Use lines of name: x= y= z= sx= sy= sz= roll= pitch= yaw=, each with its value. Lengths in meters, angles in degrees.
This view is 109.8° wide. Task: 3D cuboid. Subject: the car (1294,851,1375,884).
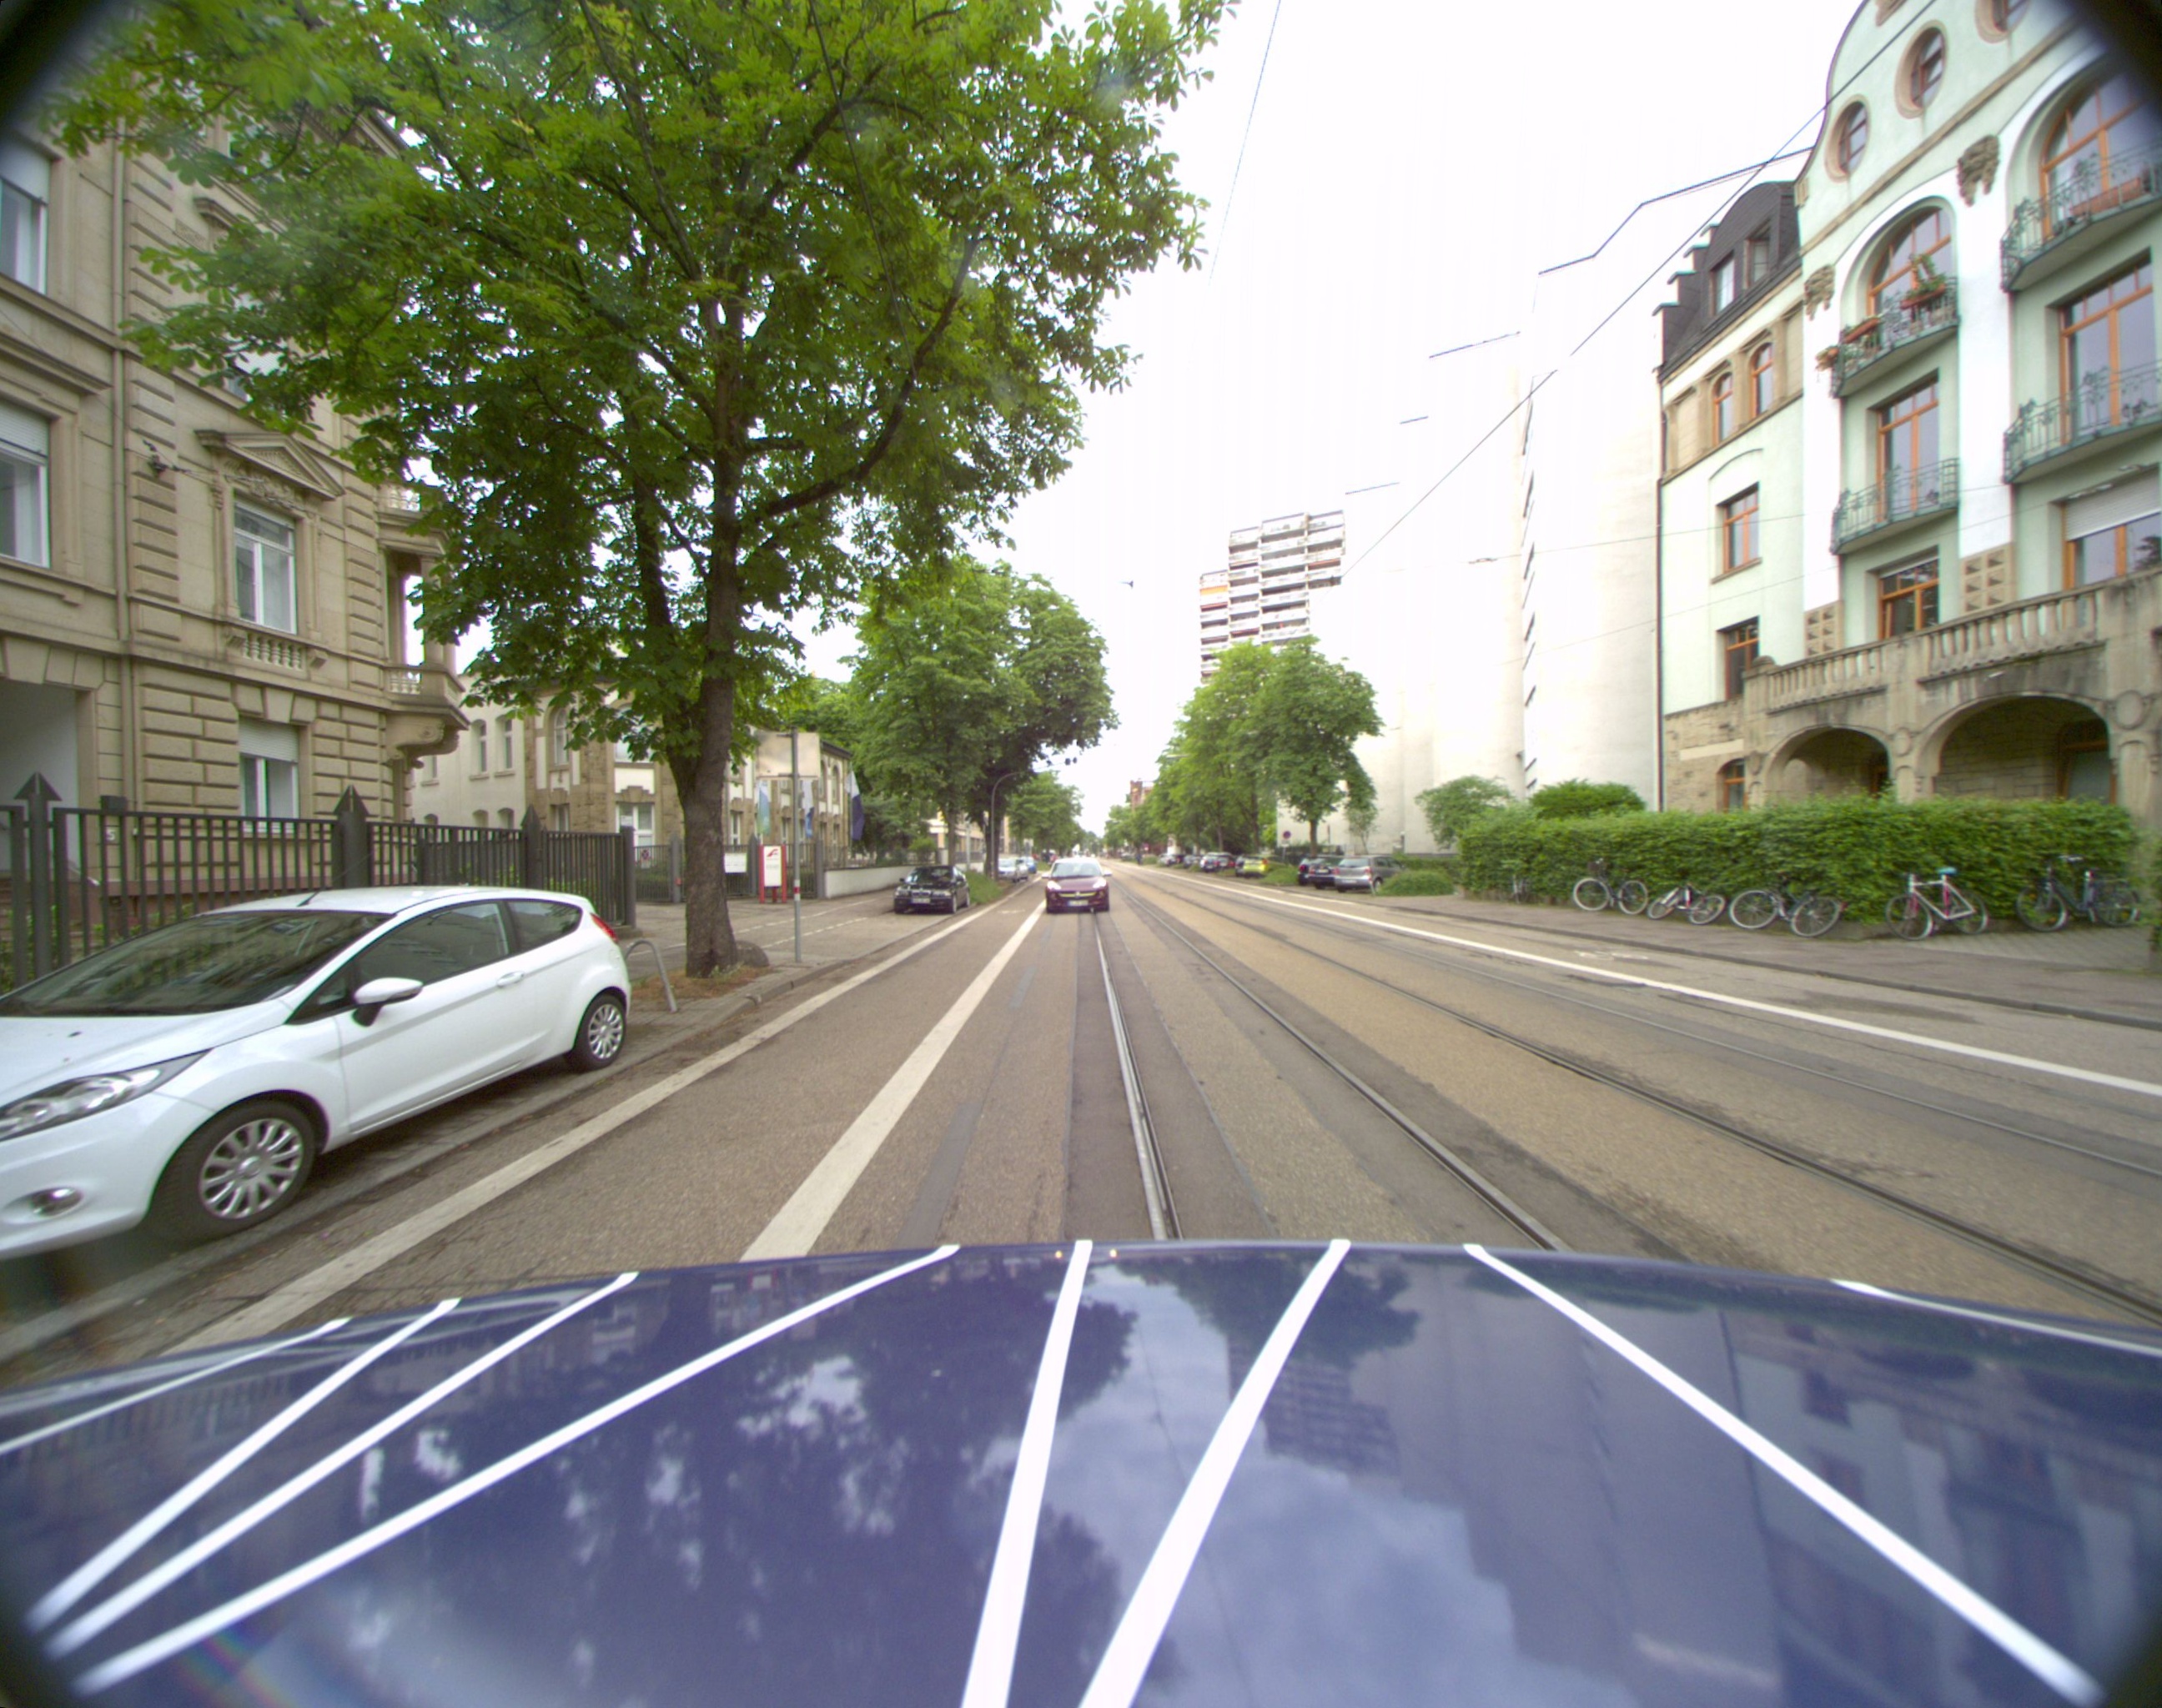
car: x=11.820 y=0.611 z=35.338 sx=4.007 sy=1.395 sz=1.691 roll=-2 pitch=1 yaw=-39

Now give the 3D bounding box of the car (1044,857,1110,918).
car: x=-0.053 y=0.863 z=21.258 sx=1.606 sy=1.427 sz=3.776 roll=-3 pitch=0 yaw=1

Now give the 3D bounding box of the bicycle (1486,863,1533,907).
bicycle: x=11.143 y=0.793 z=19.806 sx=0.360 sy=1.077 sz=1.546 roll=-1 pitch=1 yaw=0

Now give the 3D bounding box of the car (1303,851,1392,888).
car: x=11.316 y=0.630 z=32.174 sx=4.007 sy=1.395 sz=1.691 roll=-2 pitch=1 yaw=-39

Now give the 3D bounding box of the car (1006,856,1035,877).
car: x=-4.167 y=0.838 z=52.698 sx=1.606 sy=1.416 sz=3.836 roll=1 pitch=0 yaw=1

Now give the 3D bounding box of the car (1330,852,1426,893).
car: x=11.492 y=0.672 z=29.341 sx=4.007 sy=1.395 sz=1.691 roll=-2 pitch=1 yaw=-39

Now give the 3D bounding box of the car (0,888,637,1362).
car: x=-4.518 y=1.017 z=4.426 sx=1.631 sy=1.427 sz=3.764 roll=1 pitch=0 yaw=1

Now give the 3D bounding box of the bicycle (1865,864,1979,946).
bicycle: x=12.034 y=0.727 z=10.882 sx=1.205 sy=1.077 sz=0.300 roll=-4 pitch=1 yaw=2

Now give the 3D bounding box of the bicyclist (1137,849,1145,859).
bicyclist: x=7.792 y=0.006 z=98.663 sx=0.750 sy=1.247 sz=0.877 roll=-1 pitch=1 yaw=39

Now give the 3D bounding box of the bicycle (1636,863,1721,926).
bicycle: x=11.111 y=0.717 z=14.183 sx=0.360 sy=1.077 sz=1.546 roll=-1 pitch=1 yaw=0

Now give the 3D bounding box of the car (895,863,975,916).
car: x=-4.302 y=1.007 z=22.904 sx=1.606 sy=1.362 sz=3.836 roll=1 pitch=0 yaw=1

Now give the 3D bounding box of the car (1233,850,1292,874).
car: x=11.637 y=0.500 z=48.561 sx=4.008 sy=1.434 sz=1.690 roll=-2 pitch=1 yaw=-43

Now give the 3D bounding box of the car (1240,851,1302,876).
car: x=11.399 y=0.554 z=45.513 sx=4.008 sy=1.387 sz=1.690 roll=-2 pitch=1 yaw=-43

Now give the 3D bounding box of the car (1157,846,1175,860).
car: x=10.268 y=-0.147 z=91.826 sx=1.694 sy=1.611 sz=3.999 roll=-1 pitch=0 yaw=-1

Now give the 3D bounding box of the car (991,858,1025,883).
car: x=-4.327 y=0.951 z=45.358 sx=1.606 sy=1.362 sz=3.836 roll=1 pitch=0 yaw=1

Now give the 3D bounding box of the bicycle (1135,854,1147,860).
bicycle: x=7.794 y=0.361 z=98.665 sx=0.566 sy=0.784 sz=1.894 roll=0 pitch=1 yaw=40

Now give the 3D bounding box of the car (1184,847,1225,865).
car: x=11.681 y=0.195 z=71.697 sx=4.008 sy=1.611 sz=1.690 roll=-2 pitch=1 yaw=-43

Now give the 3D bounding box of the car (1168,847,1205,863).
car: x=11.326 y=0.122 z=81.530 sx=4.008 sy=1.611 sz=1.690 roll=-2 pitch=1 yaw=-43

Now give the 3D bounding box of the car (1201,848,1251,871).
car: x=11.134 y=0.403 z=58.287 sx=4.008 sy=1.611 sz=1.690 roll=-2 pitch=1 yaw=-43

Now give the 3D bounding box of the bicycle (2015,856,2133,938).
bicycle: x=14.201 y=0.610 z=10.873 sx=1.205 sy=1.077 sz=0.300 roll=-4 pitch=1 yaw=2

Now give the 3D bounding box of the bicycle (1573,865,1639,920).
bicycle: x=11.207 y=0.793 z=16.265 sx=0.360 sy=1.077 sz=1.546 roll=-1 pitch=1 yaw=0

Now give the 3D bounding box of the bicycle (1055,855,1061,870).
bicycle: x=-1.979 y=0.727 z=65.149 sx=0.414 sy=1.197 sz=1.706 roll=-1 pitch=1 yaw=1

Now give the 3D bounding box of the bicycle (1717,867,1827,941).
bicycle: x=11.053 y=0.764 z=12.217 sx=0.360 sy=1.077 sz=1.546 roll=-1 pitch=1 yaw=0

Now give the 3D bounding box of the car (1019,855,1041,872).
car: x=-4.348 y=0.778 z=65.129 sx=1.606 sy=1.362 sz=3.836 roll=1 pitch=0 yaw=1

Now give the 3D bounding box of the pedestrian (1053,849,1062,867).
pedestrian: x=-1.991 y=0.357 z=65.041 sx=0.684 sy=1.541 sz=0.704 roll=-1 pitch=1 yaw=1
